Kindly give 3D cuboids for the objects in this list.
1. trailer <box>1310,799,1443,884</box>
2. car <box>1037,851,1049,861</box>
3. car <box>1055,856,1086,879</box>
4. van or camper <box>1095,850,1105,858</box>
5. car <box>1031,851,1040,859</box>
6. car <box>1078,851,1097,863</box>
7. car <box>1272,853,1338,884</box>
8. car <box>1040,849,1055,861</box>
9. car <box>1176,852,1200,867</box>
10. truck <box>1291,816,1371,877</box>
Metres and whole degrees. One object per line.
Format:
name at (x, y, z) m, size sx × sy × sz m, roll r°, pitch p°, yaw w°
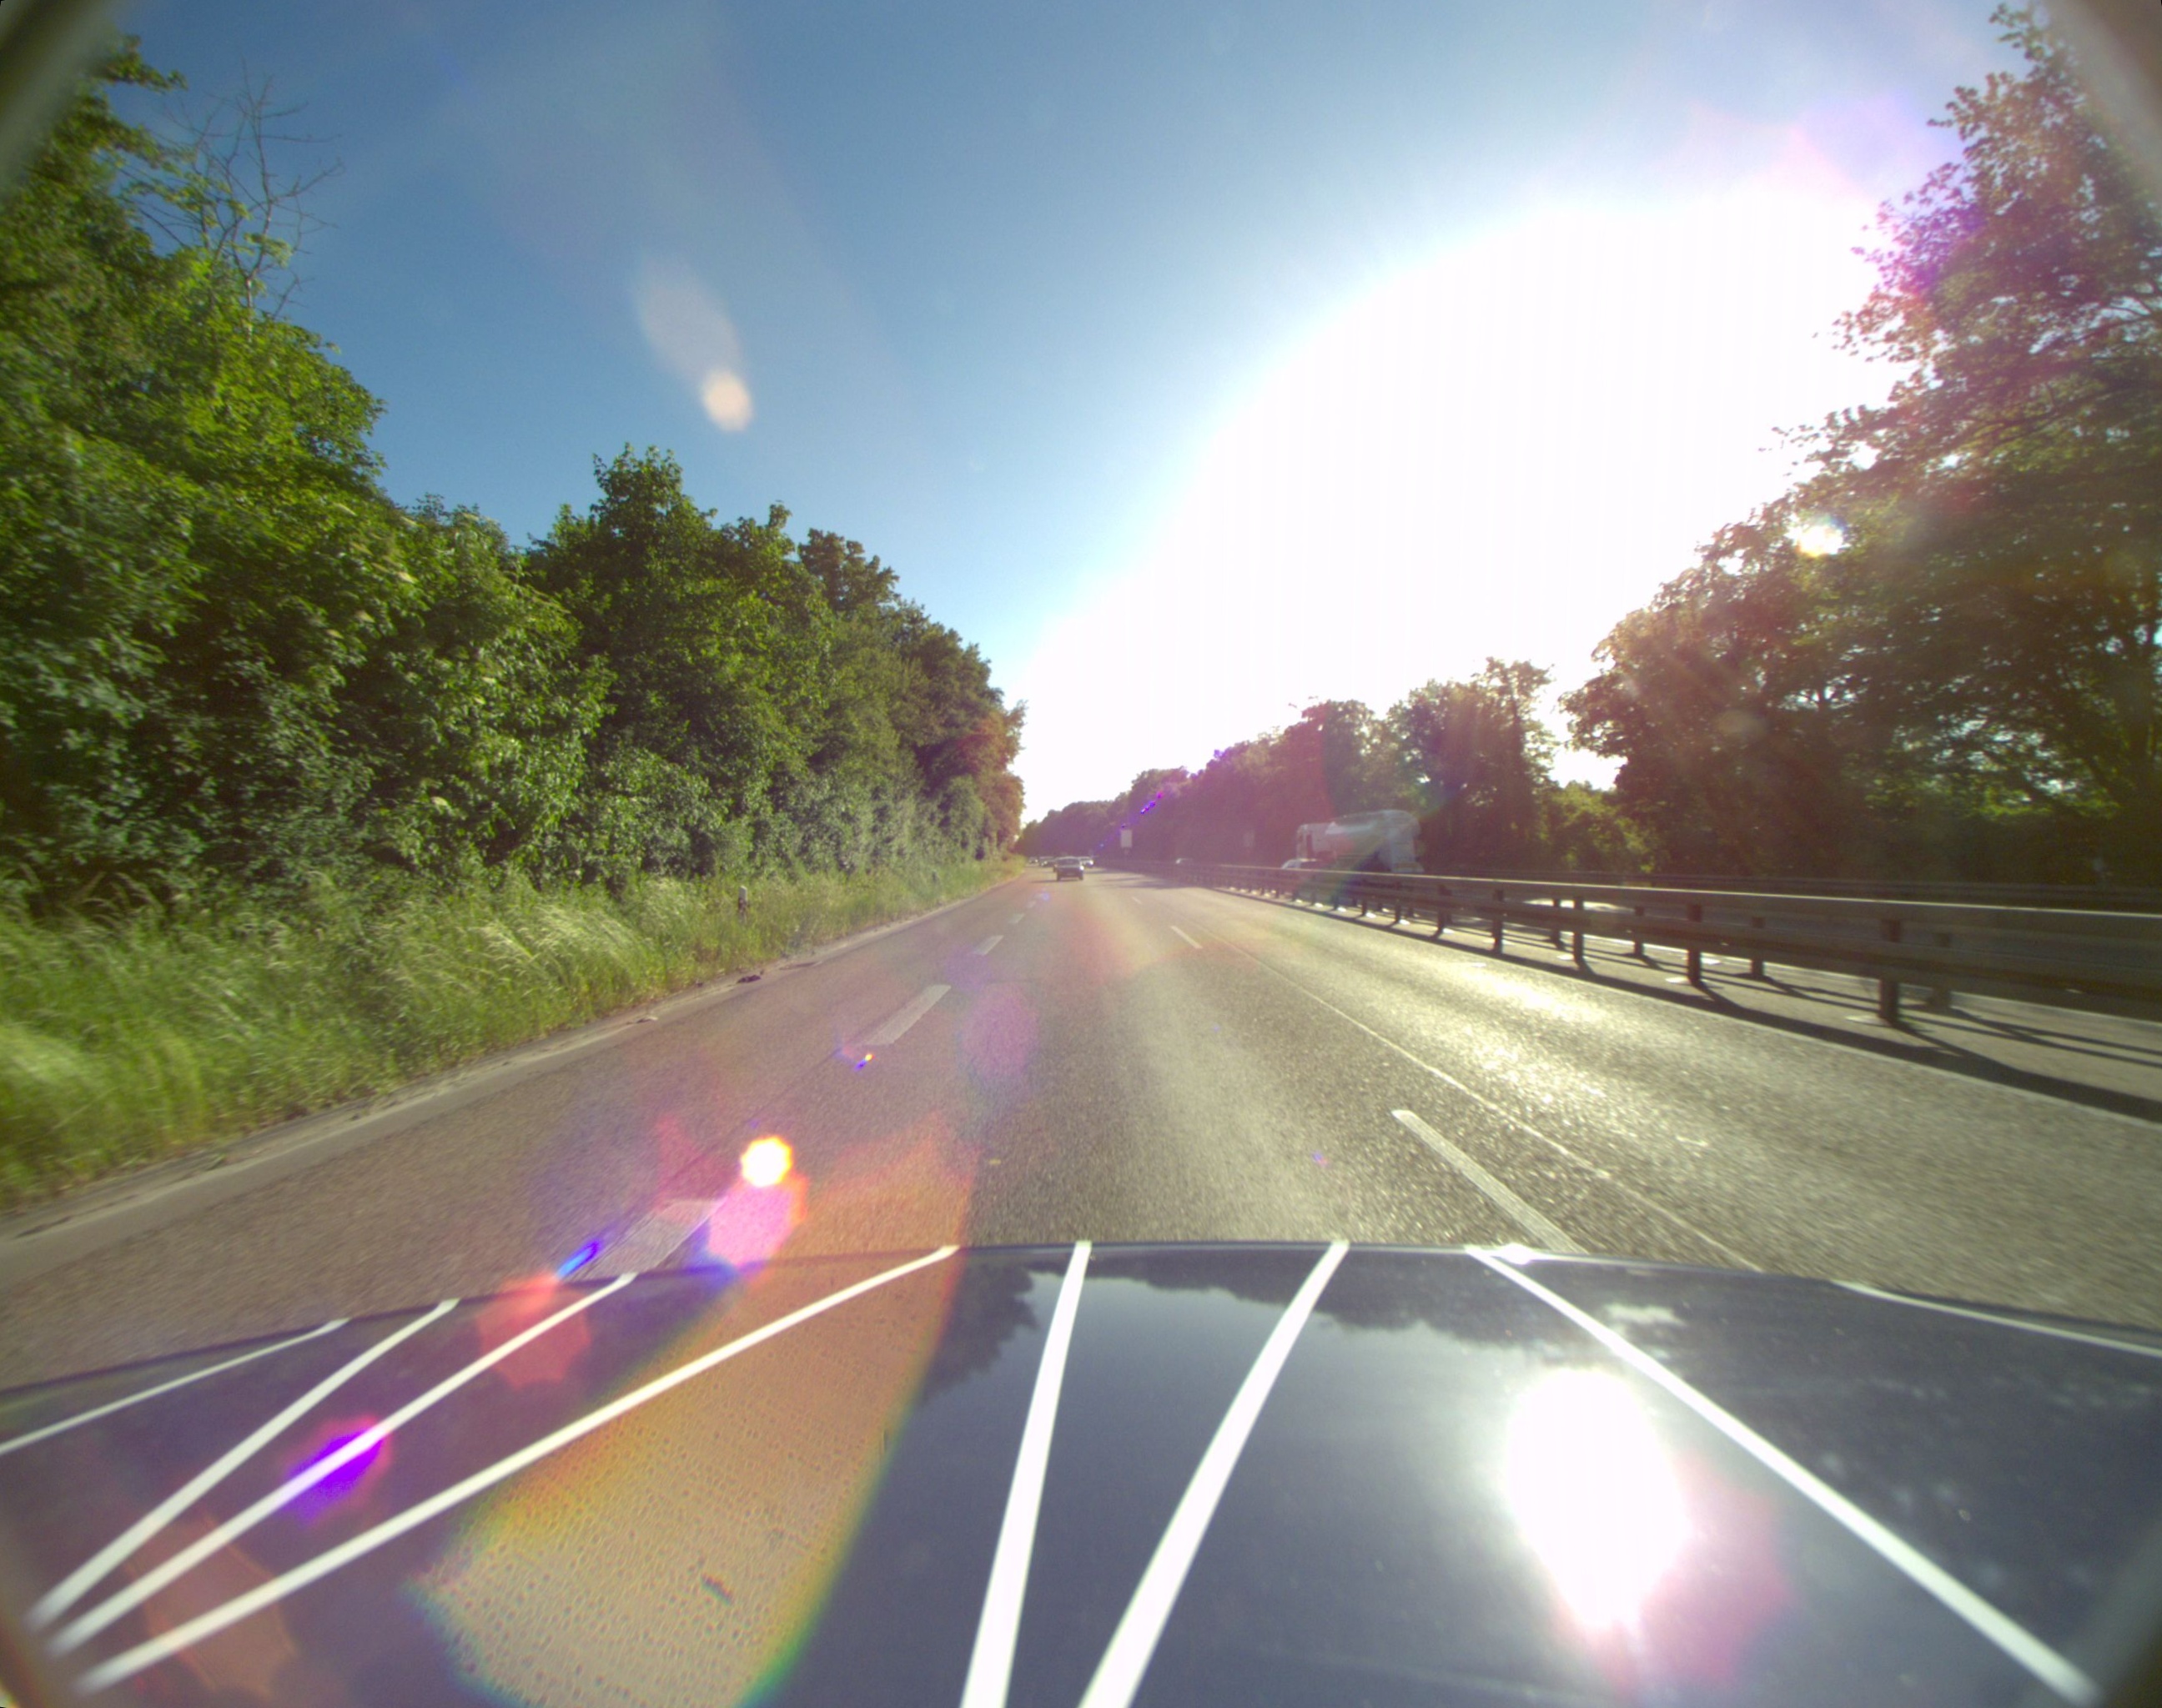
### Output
trailer at (15.678, -0.608, 41.587) m, size 3.060 × 3.974 × 10.972 m, roll -1°, pitch 0°, yaw 0°
car at (-6.980, 0.286, 138.328) m, size 1.999 × 1.761 × 3.998 m, roll -1°, pitch 0°, yaw -6°
car at (-0.728, 0.873, 51.626) m, size 1.801 × 1.453 × 4.354 m, roll -1°, pitch 0°, yaw -5°
van or camper at (4.058, -0.086, 165.375) m, size 1.877 × 1.756 × 4.285 m, roll -1°, pitch 0°, yaw -3°
car at (-10.962, 0.178, 181.152) m, size 1.999 × 1.761 × 3.998 m, roll -1°, pitch 0°, yaw -6°
car at (0.836, 0.397, 99.166) m, size 1.905 × 1.453 × 4.353 m, roll -1°, pitch 0°, yaw -7°
car at (11.275, 0.681, 38.550) m, size 1.803 × 1.458 × 4.695 m, roll 0°, pitch 0°, yaw -2°
car at (-5.098, 0.192, 115.322) m, size 1.999 × 1.761 × 3.998 m, roll -1°, pitch 0°, yaw -6°
car at (10.576, 0.492, 75.609) m, size 1.670 × 1.458 × 4.091 m, roll -1°, pitch 0°, yaw -2°
truck at (15.616, -0.449, 47.921) m, size 2.989 × 3.609 × 6.155 m, roll -1°, pitch 0°, yaw 0°
